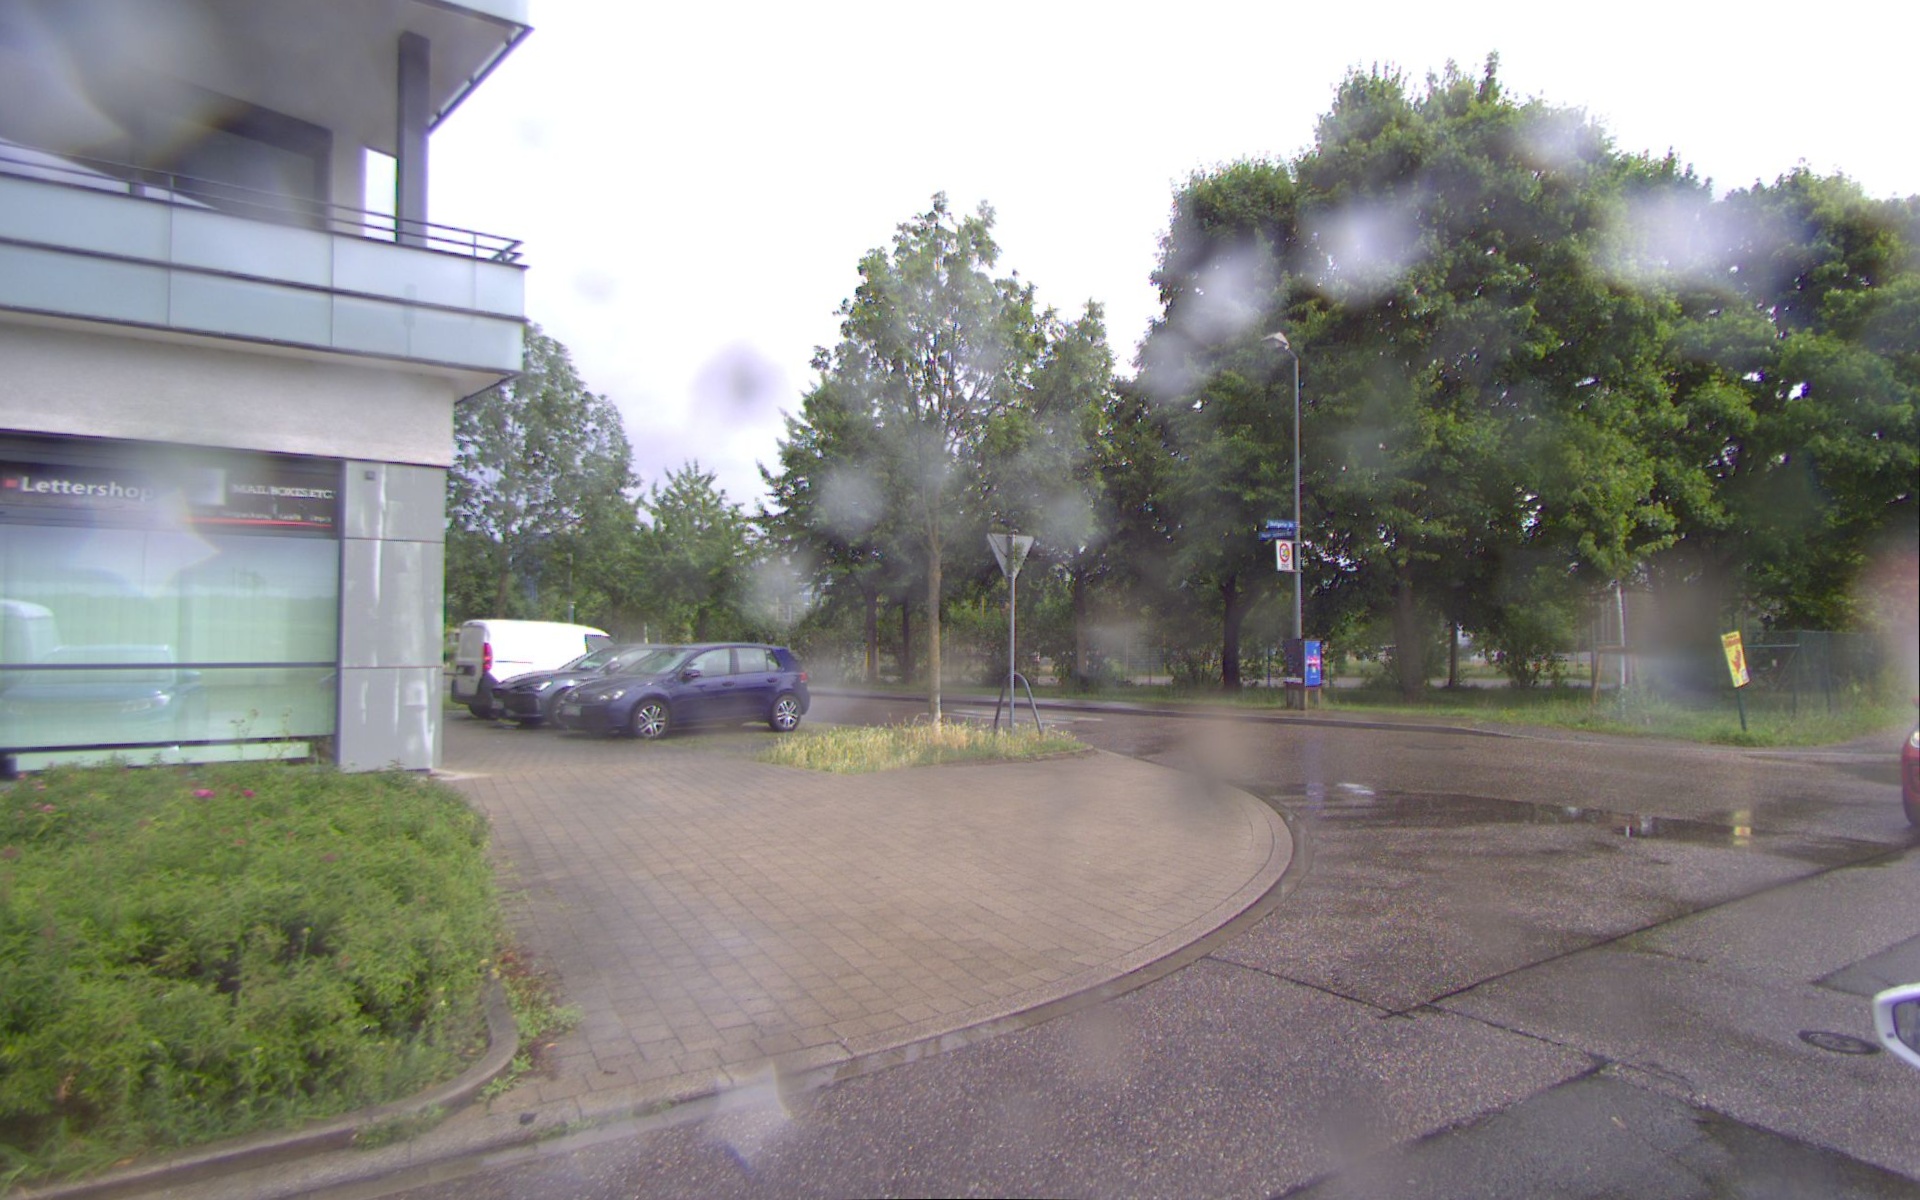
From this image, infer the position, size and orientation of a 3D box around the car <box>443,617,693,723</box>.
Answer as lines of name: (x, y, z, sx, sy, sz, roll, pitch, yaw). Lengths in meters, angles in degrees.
car: (-7.687, 1.360, 20.045, 1.620, 1.859, 4.328, 0, -3, 42)

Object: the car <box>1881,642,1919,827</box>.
car: (9.445, 1.106, 8.538, 3.354, 1.487, 1.647, 2, -3, -34)

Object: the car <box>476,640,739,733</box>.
car: (-6.146, 1.490, 17.890, 1.664, 1.414, 4.108, 0, -3, 42)

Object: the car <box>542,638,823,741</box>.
car: (-4.354, 1.386, 16.300, 1.620, 1.414, 4.167, 0, -3, 42)
